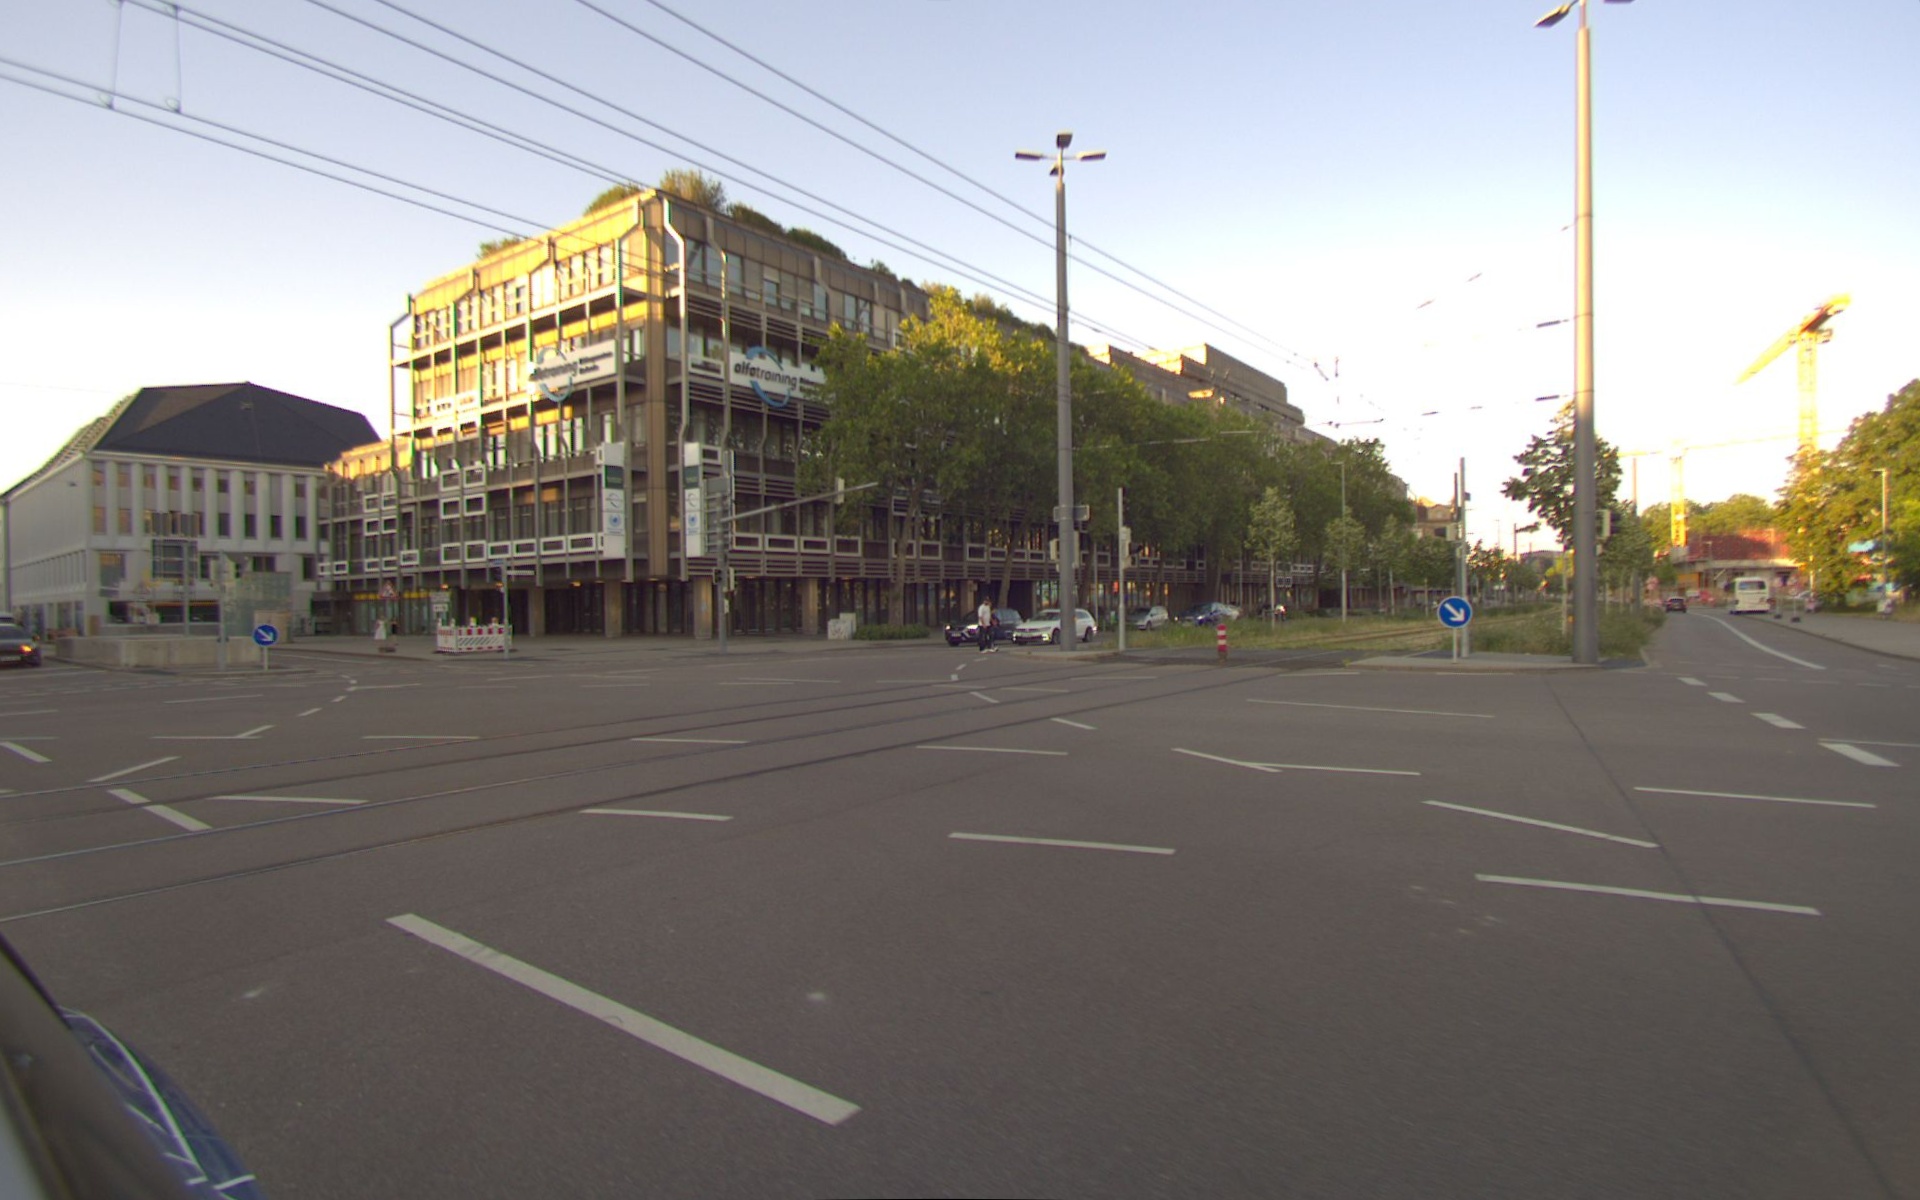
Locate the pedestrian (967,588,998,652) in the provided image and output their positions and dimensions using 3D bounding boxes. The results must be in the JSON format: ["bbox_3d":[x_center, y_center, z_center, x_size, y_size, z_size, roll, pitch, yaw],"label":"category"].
[{"bbox_3d":[0.691,0.601,31.159,0.680,1.946,0.636,-1,0,38],"label":"pedestrian"}]

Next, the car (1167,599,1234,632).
[{"bbox_3d":[12.890,0.806,54.109,2.071,1.663,3.949,-1,0,38],"label":"car"}]

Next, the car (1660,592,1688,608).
[{"bbox_3d":[74.966,-0.035,106.245,2.072,1.663,3.947,-1,0,40],"label":"car"}]

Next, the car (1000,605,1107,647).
[{"bbox_3d":[4.005,1.052,42.662,1.998,1.597,5.095,-1,0,40],"label":"car"}]

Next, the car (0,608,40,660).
[{"bbox_3d":[-32.641,1.120,34.100,3.999,1.663,2.045,-1,0,42],"label":"car"}]

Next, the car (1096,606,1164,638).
[{"bbox_3d":[9.588,1.219,56.950,2.071,1.663,3.947,-1,0,40],"label":"car"}]

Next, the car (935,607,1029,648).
[{"bbox_3d":[1.001,1.164,44.160,1.856,1.663,4.344,-1,0,38],"label":"car"}]

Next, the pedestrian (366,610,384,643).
[{"bbox_3d":[-30.881,1.402,53.387,0.682,1.725,0.637,-1,0,42],"label":"pedestrian"}]

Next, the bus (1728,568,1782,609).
[{"bbox_3d":[75.983,-1.053,96.847,3.550,3.743,8.817,-1,0,35],"label":"bus"}]

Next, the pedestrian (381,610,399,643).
[{"bbox_3d":[-30.282,1.392,53.767,0.649,1.725,0.643,-1,0,42],"label":"pedestrian"}]
